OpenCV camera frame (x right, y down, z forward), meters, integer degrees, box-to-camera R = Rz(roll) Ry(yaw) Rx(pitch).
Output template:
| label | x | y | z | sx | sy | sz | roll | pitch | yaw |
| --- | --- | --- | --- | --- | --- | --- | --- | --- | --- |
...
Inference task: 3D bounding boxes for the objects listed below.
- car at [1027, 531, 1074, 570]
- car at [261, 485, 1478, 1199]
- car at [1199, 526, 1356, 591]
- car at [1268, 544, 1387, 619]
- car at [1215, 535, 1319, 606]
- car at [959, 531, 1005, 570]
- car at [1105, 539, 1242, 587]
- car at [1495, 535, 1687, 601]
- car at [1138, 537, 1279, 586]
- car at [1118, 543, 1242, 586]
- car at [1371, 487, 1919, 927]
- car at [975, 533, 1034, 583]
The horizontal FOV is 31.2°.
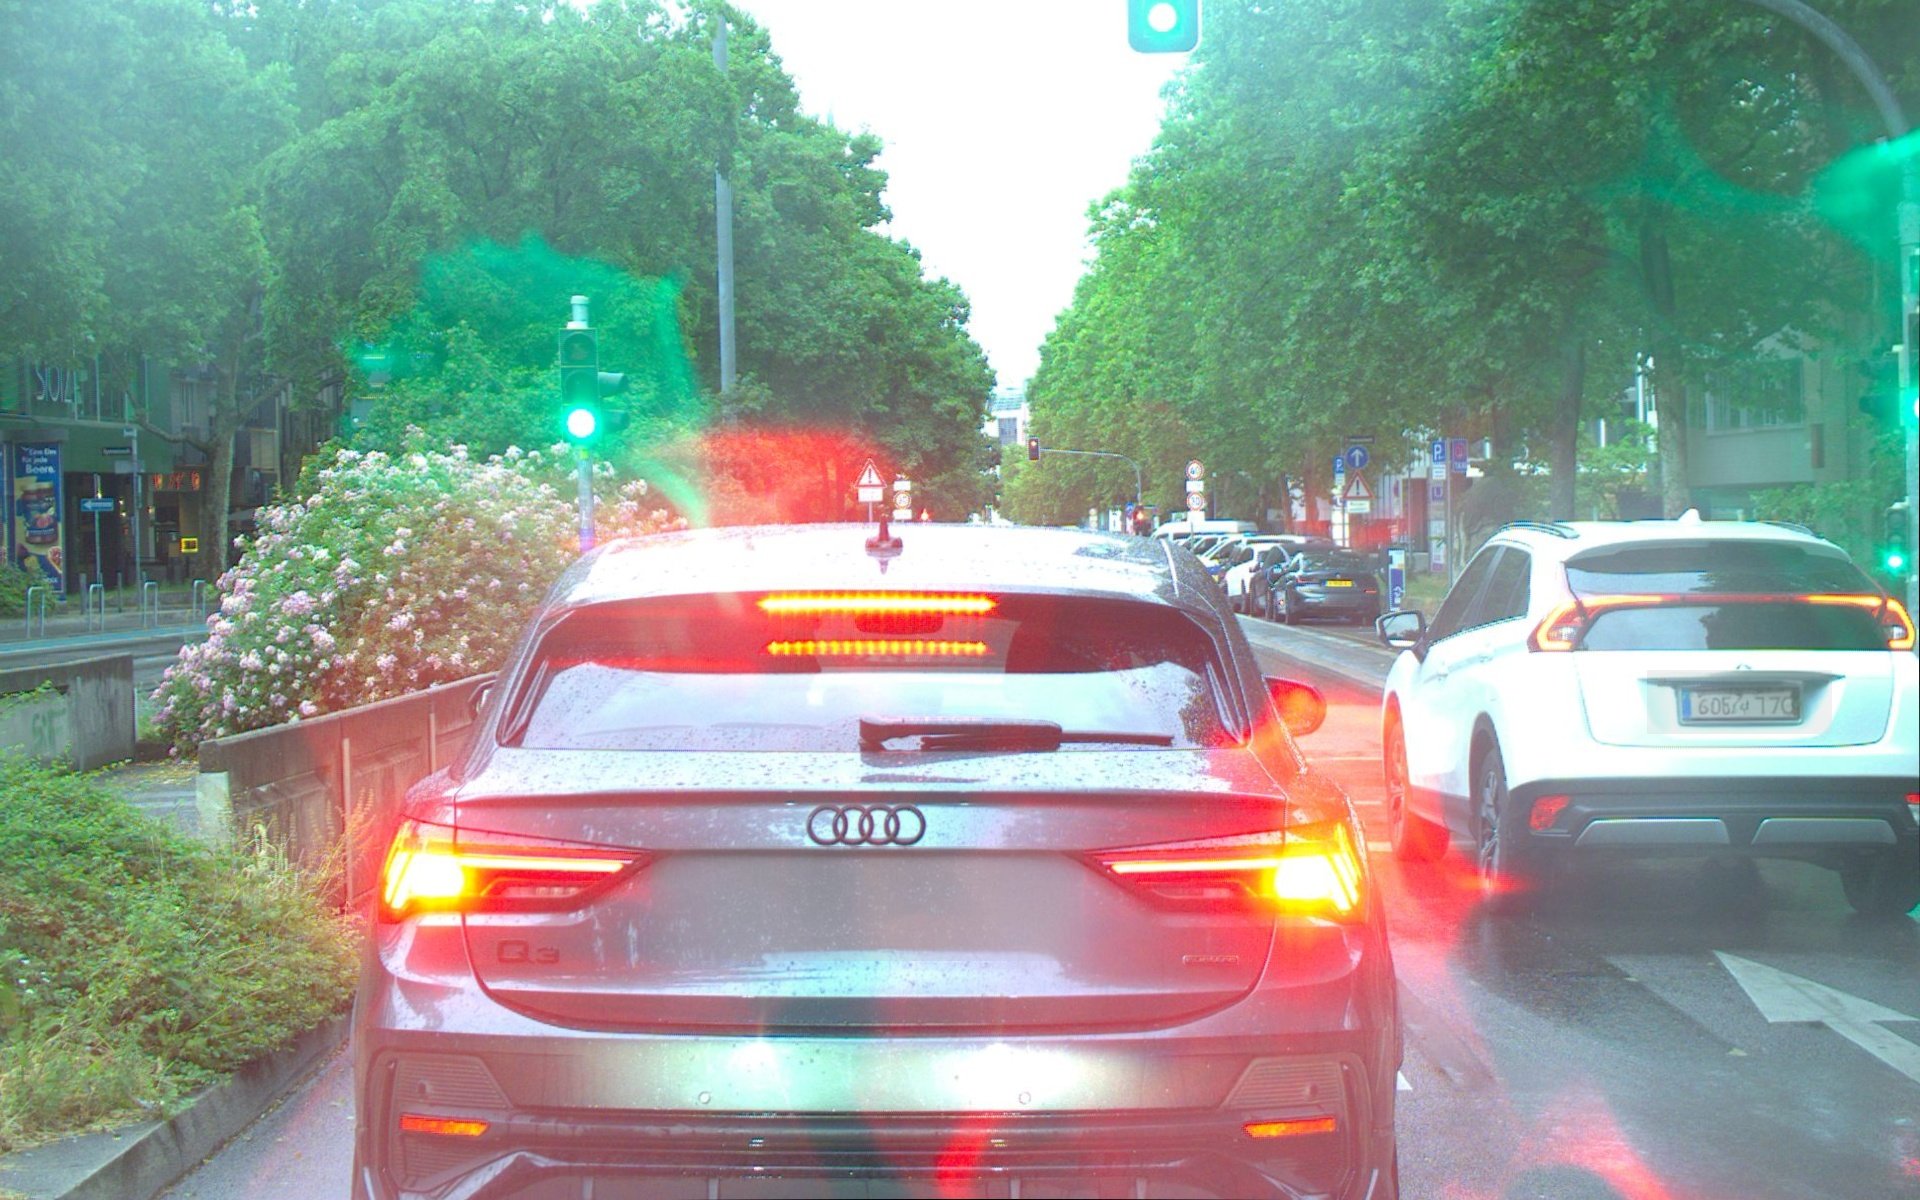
| label | x | y | z | sx | sy | sz | roll | pitch | yaw |
| --- | --- | --- | --- | --- | --- | --- | --- | --- | --- |
| car | 3.957 | -2.149 | 151.078 | 1.993 | 1.645 | 4.000 | 1 | 0 | 1 |
| car | -0.161 | 0.595 | 7.234 | 1.849 | 1.596 | 4.000 | 0 | 1 | -1 |
| car | 10.053 | -1.317 | 109.032 | 4.602 | 2.007 | 1.964 | 1 | 0 | 39 |
| car | 7.268 | -0.383 | 68.330 | 1.873 | 1.416 | 4.611 | 1 | 1 | 0 |
| car | 7.037 | -0.665 | 79.061 | 1.727 | 1.566 | 4.074 | 1 | 0 | -4 |
| car | 0.943 | -2.134 | 148.844 | 1.896 | 1.593 | 3.939 | 1 | 0 | -1 |
| car | 7.906 | -1.385 | 127.566 | 4.646 | 1.700 | 1.997 | 1 | 0 | 28 |
| car | 10.782 | -0.550 | 58.735 | 2.889 | 1.071 | 1.453 | 1 | 0 | 32 |
| car | 8.925 | -1.388 | 123.546 | 4.646 | 1.700 | 1.997 | 1 | 0 | 28 |
| car | 8.998 | -1.459 | 140.589 | 4.646 | 1.700 | 1.997 | 1 | 0 | 28 |
| car | 3.023 | 0.406 | 15.407 | 1.878 | 1.691 | 4.000 | 1 | 0 | 0 |
| car | 1.563 | -1.465 | 121.934 | 1.993 | 1.721 | 4.000 | 1 | 0 | 0 |
